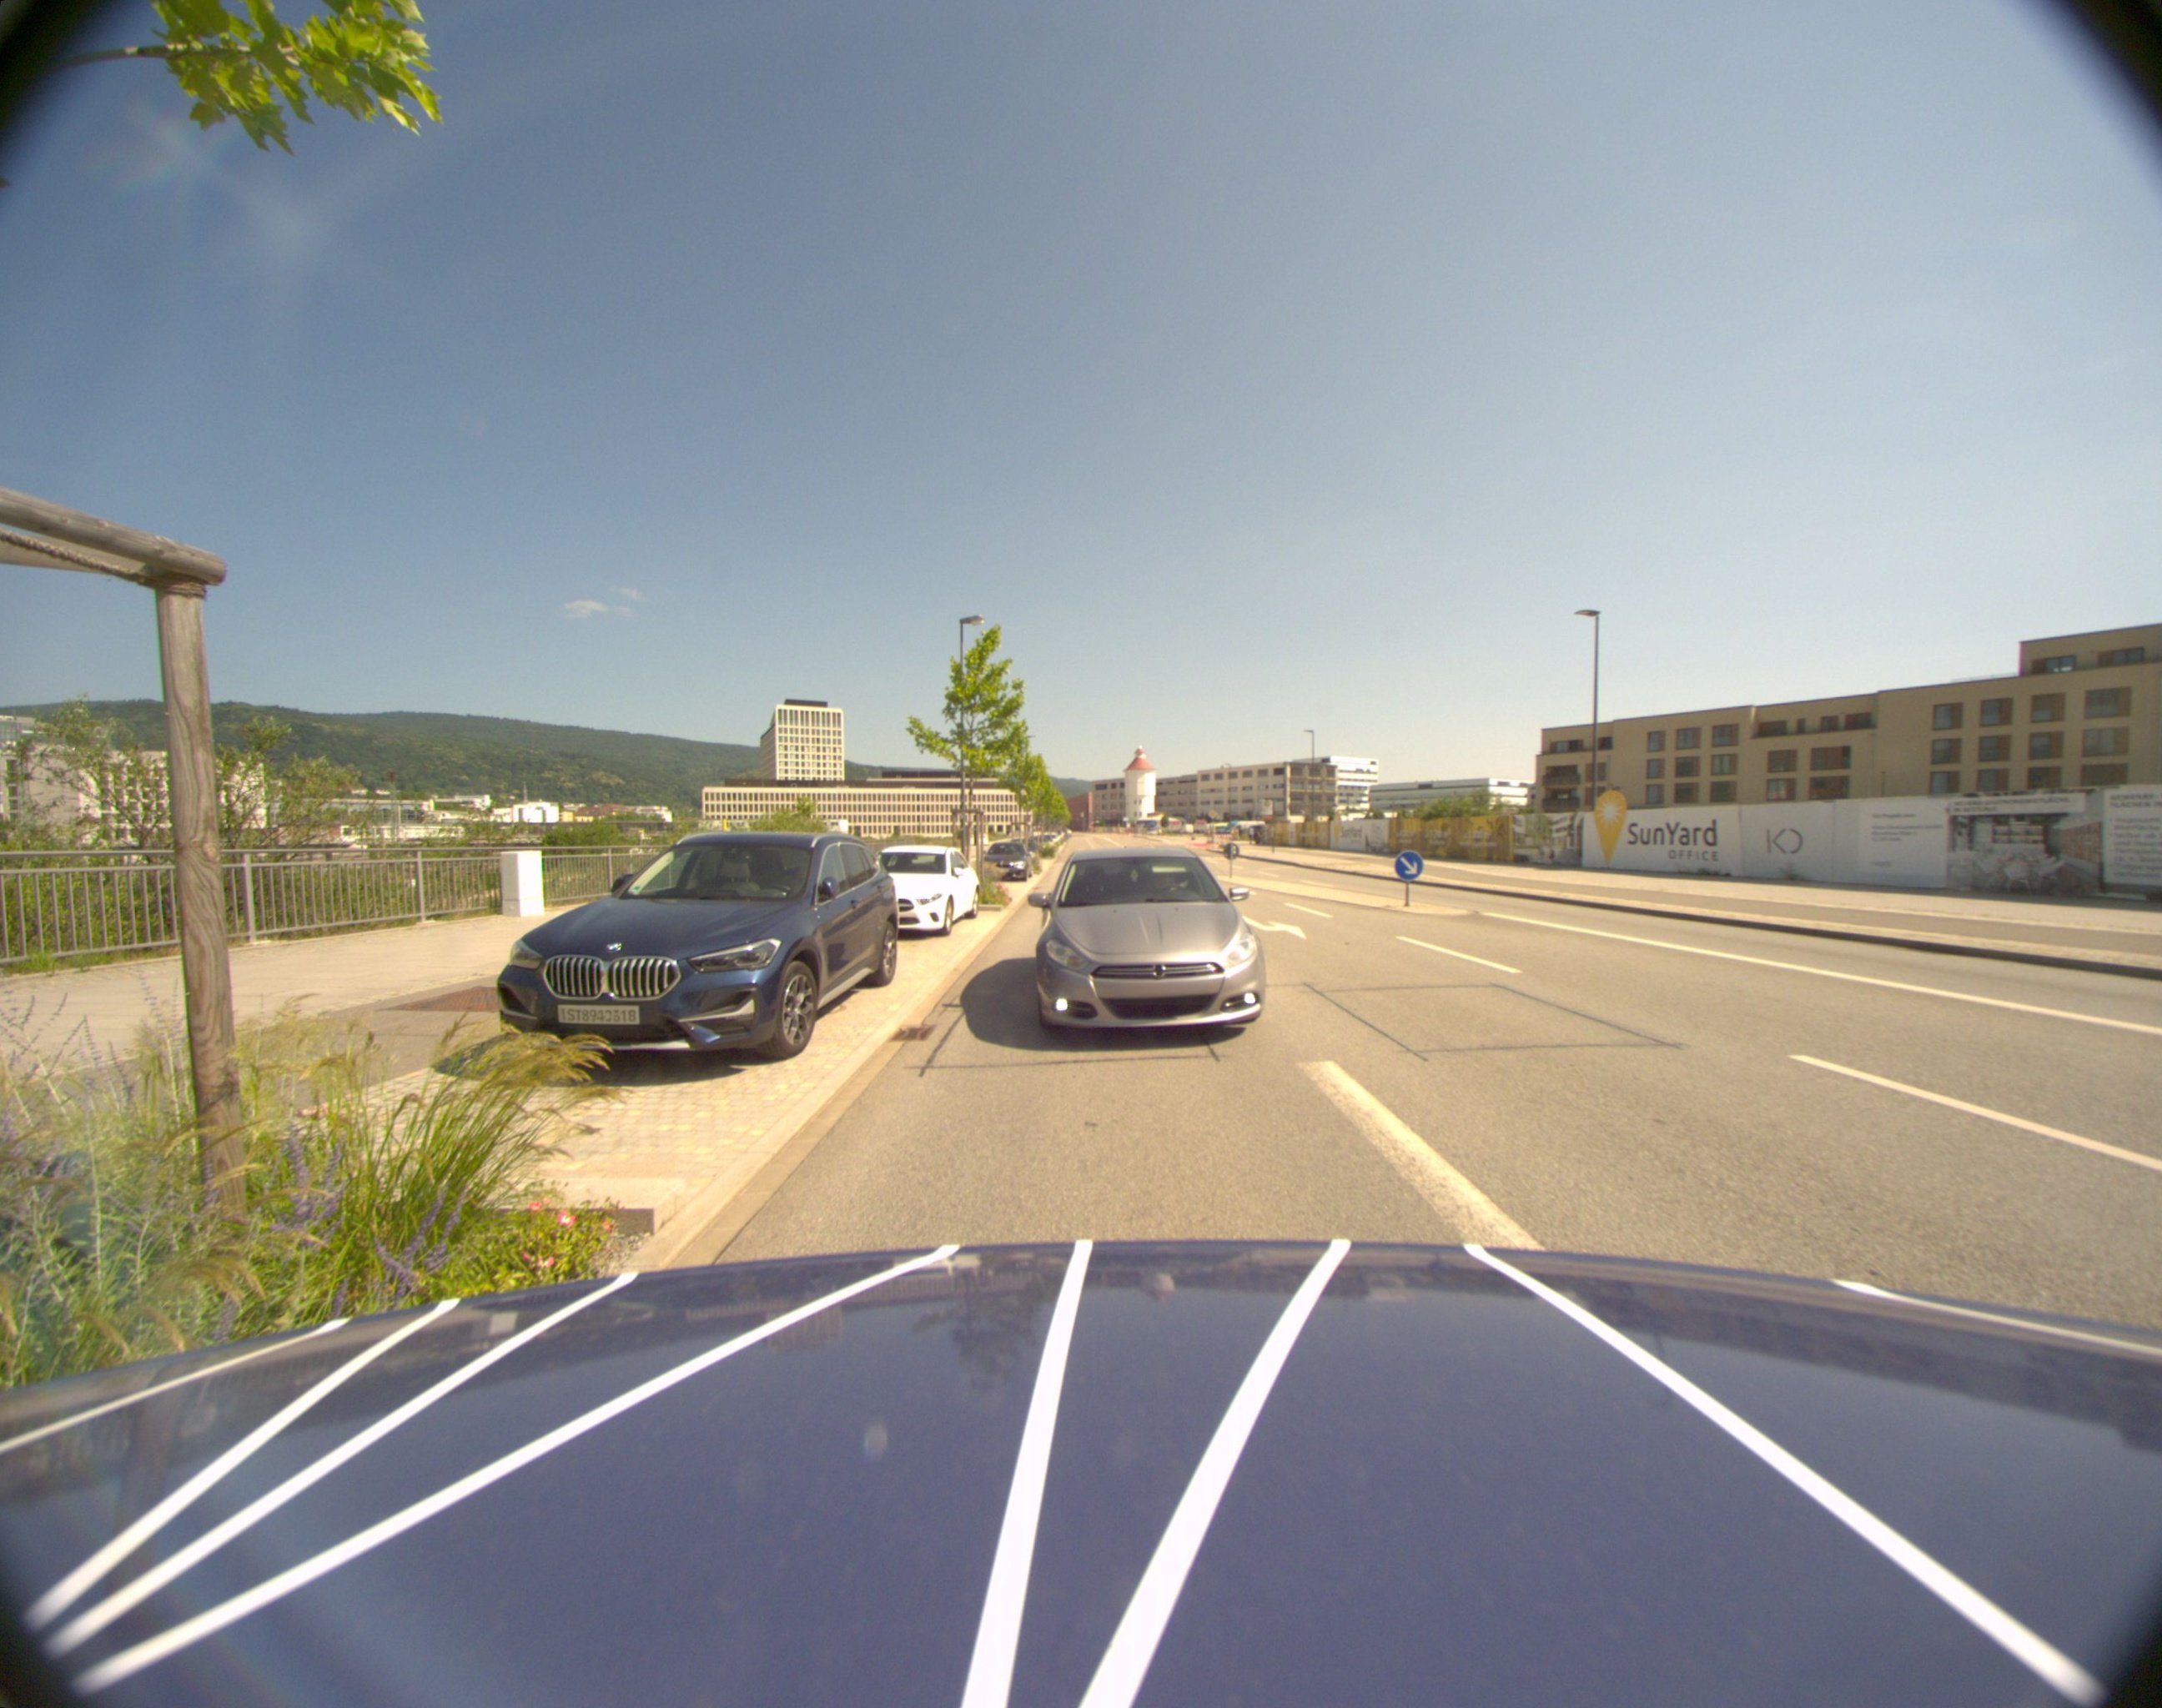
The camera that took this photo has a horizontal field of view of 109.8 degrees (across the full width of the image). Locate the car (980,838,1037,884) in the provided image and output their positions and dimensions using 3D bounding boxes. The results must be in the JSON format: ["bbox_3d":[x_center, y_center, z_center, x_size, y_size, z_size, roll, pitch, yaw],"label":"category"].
[{"bbox_3d":[-2.687,0.210,29.041,1.664,1.530,3.999,-2,1,1],"label":"car"}]

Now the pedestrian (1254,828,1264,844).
[{"bbox_3d":[18.407,-1.881,78.615,0.705,1.577,0.617,-4,2,-36],"label":"pedestrian"}]

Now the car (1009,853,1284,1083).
[{"bbox_3d":[0.468,0.761,7.121,1.784,1.372,4.135,-2,1,1],"label":"car"}]

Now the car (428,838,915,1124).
[{"bbox_3d":[-2.846,0.702,6.544,1.769,1.598,4.237,-2,1,1],"label":"car"}]

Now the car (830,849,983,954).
[{"bbox_3d":[-2.875,0.698,13.402,1.664,1.447,3.999,-2,1,1],"label":"car"}]
